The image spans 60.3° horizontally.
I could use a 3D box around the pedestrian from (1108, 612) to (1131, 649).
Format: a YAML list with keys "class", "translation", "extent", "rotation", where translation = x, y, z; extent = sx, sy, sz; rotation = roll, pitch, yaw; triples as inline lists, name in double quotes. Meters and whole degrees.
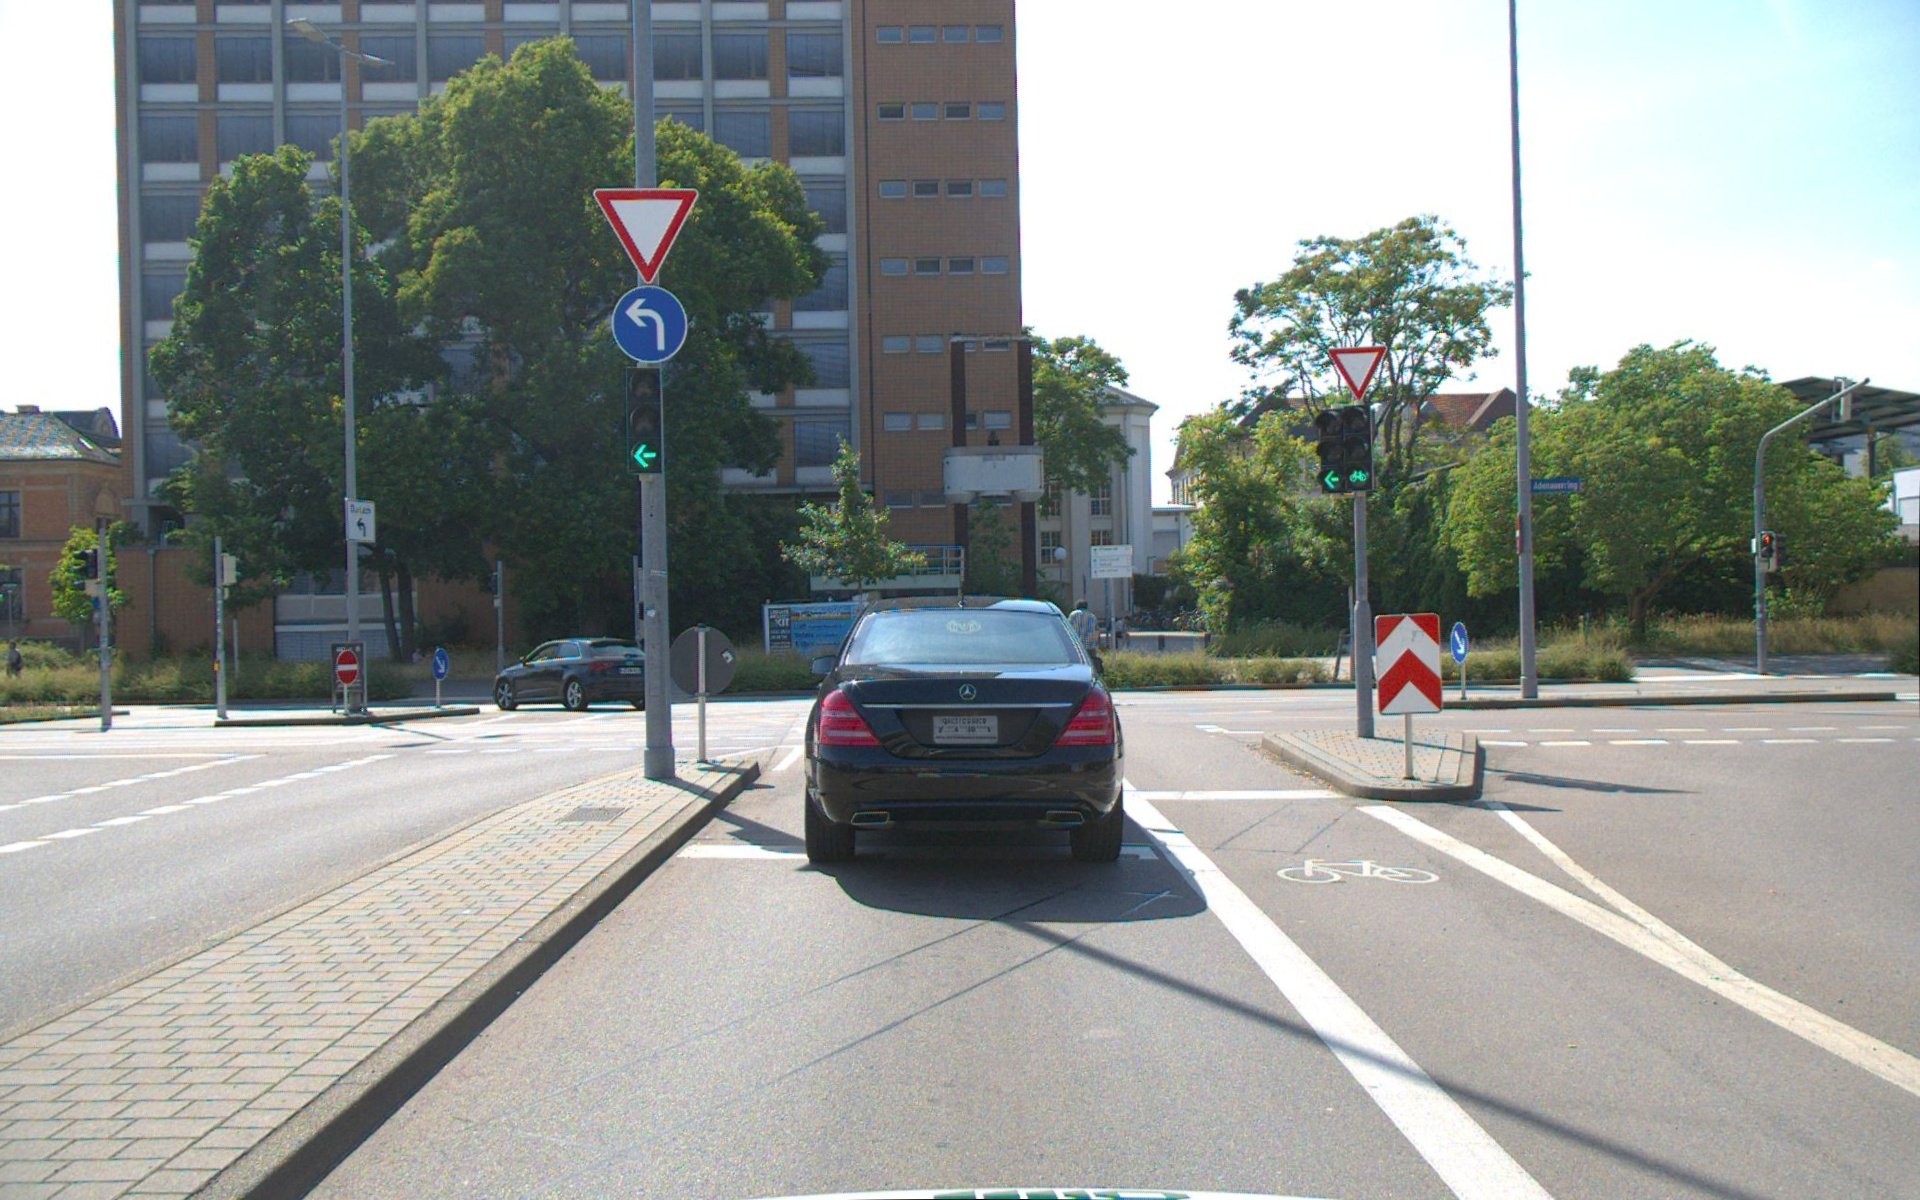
- class: "pedestrian"
  translation: [5.401, 1.038, 56.023]
  extent: [0.776, 1.235, 0.758]
  rotation: [1, -1, 6]

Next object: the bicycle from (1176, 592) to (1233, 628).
- class: "bicycle"
  translation: [12.707, 0.504, 86.065]
  extent: [2.766, 1.775, 0.841]
  rotation: [-2, 0, -2]

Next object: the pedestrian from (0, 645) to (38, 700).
- class: "pedestrian"
  translation: [-30.718, 2.366, 53.909]
  extent: [0.781, 1.756, 0.873]
  rotation: [-2, -1, 22]

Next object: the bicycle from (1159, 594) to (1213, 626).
- class: "bicycle"
  translation: [12.240, 0.523, 89.583]
  extent: [2.766, 1.615, 0.841]
  rotation: [-2, 0, -2]

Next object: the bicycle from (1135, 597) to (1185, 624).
- class: "bicycle"
  translation: [11.693, 0.618, 96.805]
  extent: [2.766, 1.526, 0.841]
  rotation: [-2, 0, -2]

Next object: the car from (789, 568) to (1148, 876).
- class: "car"
  translation: [0.060, 0.642, 10.782]
  extent: [1.820, 1.557, 4.713]
  rotation: [0, -1, 0]

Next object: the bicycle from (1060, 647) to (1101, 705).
- class: "bicycle"
  translation: [2.162, 1.344, 29.816]
  extent: [0.678, 0.963, 1.959]
  rotation: [1, -1, 3]

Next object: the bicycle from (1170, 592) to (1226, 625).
- class: "bicycle"
  translation: [12.570, 0.439, 87.470]
  extent: [2.766, 1.678, 0.841]
  rotation: [-2, 0, -2]

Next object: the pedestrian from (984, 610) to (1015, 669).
- class: "pedestrian"
  translation: [1.098, 1.082, 45.757]
  extent: [0.794, 1.607, 0.692]
  rotation: [-2, -1, 1]

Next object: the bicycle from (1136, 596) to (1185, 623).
- class: "bicycle"
  translation: [11.893, 0.591, 98.323]
  extent: [2.766, 1.506, 0.841]
  rotation: [-2, 0, -2]

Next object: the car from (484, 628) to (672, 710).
- class: "car"
  translation: [-7.718, 1.394, 33.249]
  extent: [3.930, 1.537, 1.789]
  rotation: [-3, -3, 43]

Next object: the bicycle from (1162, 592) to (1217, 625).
- class: "bicycle"
  translation: [12.266, 0.448, 88.389]
  extent: [2.766, 1.688, 0.841]
  rotation: [-2, 1, -2]

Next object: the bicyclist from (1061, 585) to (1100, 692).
- class: "bicyclist"
  translation: [2.173, 0.683, 29.888]
  extent: [0.671, 1.911, 0.860]
  rotation: [0, -1, 2]

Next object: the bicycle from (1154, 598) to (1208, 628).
- class: "bicycle"
  translation: [12.121, 0.696, 90.715]
  extent: [2.766, 1.564, 0.841]
  rotation: [-2, 0, -2]

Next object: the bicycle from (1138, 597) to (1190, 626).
- class: "bicycle"
  translation: [11.664, 0.666, 94.608]
  extent: [2.766, 1.586, 0.841]
  rotation: [-2, 0, -2]
